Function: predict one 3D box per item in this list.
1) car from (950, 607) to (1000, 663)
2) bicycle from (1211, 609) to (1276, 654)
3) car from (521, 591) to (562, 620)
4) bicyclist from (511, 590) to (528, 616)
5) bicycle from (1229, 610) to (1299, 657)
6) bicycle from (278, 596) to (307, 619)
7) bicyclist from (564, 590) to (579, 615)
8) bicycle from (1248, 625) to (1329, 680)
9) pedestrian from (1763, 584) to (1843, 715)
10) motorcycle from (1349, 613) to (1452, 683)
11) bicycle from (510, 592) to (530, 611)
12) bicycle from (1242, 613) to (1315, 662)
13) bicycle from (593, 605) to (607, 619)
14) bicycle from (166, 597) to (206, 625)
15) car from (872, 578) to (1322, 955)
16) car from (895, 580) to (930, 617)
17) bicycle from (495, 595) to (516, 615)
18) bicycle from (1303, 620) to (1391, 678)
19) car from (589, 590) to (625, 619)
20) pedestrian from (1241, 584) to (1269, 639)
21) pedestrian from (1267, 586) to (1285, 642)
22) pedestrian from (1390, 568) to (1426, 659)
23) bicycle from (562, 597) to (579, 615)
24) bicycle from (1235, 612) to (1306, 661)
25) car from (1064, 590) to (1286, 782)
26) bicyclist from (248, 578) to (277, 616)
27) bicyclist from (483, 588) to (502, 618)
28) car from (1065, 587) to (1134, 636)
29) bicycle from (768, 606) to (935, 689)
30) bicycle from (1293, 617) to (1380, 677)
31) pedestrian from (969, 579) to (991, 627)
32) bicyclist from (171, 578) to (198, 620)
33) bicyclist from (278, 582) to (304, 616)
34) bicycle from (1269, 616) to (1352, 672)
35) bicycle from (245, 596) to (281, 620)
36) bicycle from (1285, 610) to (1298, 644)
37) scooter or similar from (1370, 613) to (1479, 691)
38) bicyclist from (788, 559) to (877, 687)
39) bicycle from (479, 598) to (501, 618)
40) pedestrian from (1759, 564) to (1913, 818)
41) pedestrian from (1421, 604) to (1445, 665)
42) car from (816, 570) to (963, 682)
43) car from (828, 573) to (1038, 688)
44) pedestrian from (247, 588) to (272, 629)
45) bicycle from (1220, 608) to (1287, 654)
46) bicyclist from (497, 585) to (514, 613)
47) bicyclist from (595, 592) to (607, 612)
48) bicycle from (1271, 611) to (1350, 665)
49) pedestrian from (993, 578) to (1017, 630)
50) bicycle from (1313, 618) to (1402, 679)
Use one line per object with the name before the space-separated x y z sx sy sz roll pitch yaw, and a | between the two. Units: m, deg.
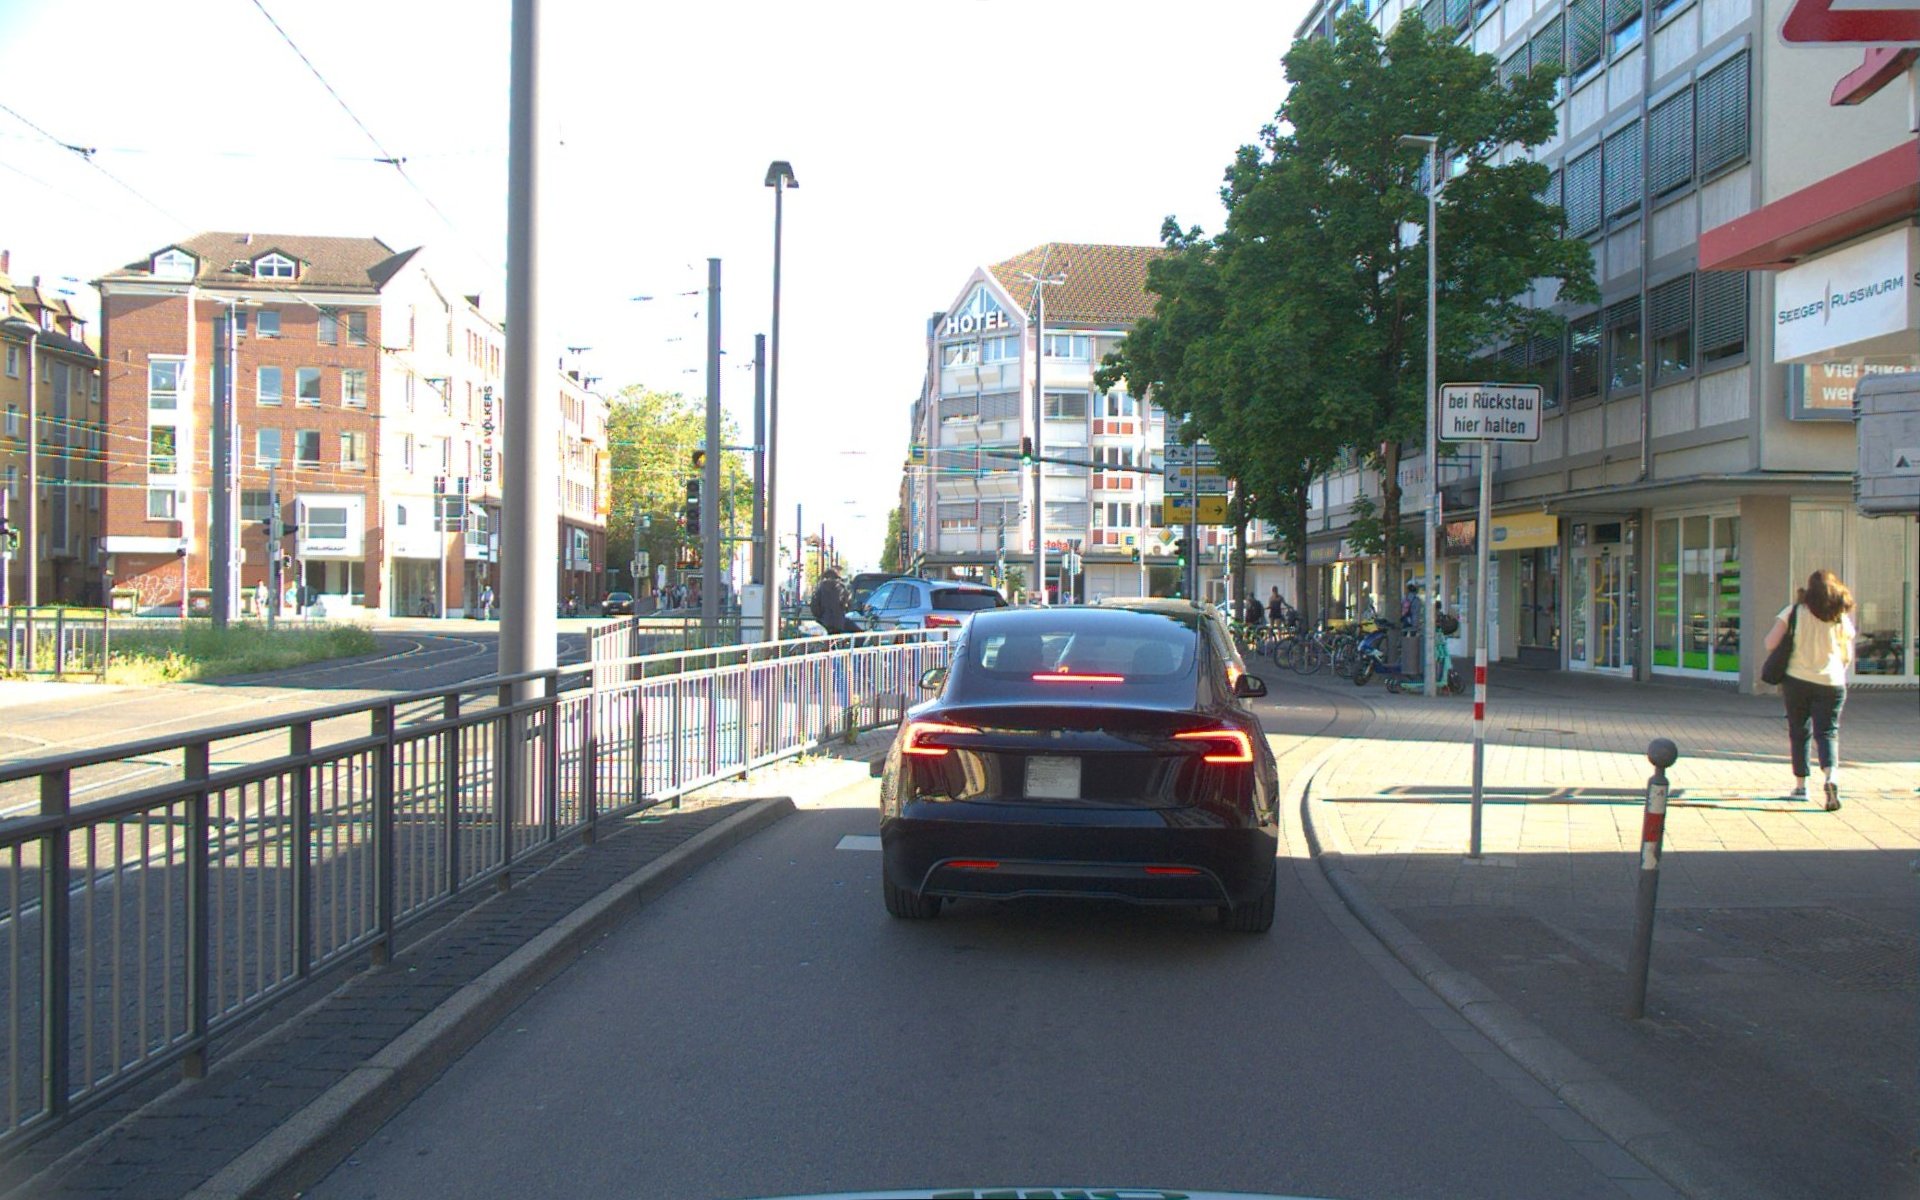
car | 0.463 1.137 55.480 1.566 1.809 3.980 1 0 -1
bicycle | 7.292 0.802 42.559 1.616 1.118 0.350 1 -1 1
car | -23.923 0.312 94.628 1.677 1.553 4.031 1 0 -5
bicyclist | -26.304 0.172 98.721 0.767 1.590 0.746 0 0 1
bicycle | 7.427 0.820 40.421 1.616 1.118 0.350 1 -1 1
bicycle | -29.689 0.332 73.567 0.396 0.998 1.695 1 0 7
bicyclist | -24.490 0.177 104.302 0.769 1.554 0.589 1 -1 3
bicycle | 6.819 1.096 34.339 1.620 1.118 0.349 1 -1 -11
pedestrian | 11.258 0.653 22.111 0.872 1.696 0.808 1 -1 23
motorcycle | 7.807 0.841 29.350 1.673 1.194 0.541 1 -1 -3
bicycle | -26.374 0.102 99.252 0.518 1.107 2.284 1 0 1
bicycle | 7.382 0.866 38.380 1.616 1.118 0.350 1 -1 1
bicycle | -29.060 0.941 133.549 0.518 1.107 2.225 1 0 1
bicycle | -28.297 0.387 60.493 0.437 0.988 2.246 1 0 -1
car | 0.689 0.677 8.678 1.791 1.481 4.002 1 0 4
car | -2.388 -0.056 83.897 1.685 1.781 3.753 1 0 -1
bicycle | -26.206 0.308 95.403 0.518 1.107 2.284 2 0 1
bicycle | 7.381 0.933 31.527 1.620 1.079 0.349 1 -1 -11
car | -22.534 0.278 105.700 1.663 1.762 3.704 1 0 -3
pedestrian | 9.127 0.364 51.230 0.685 1.691 0.777 1 -1 -1
pedestrian | 9.829 0.435 51.380 0.515 1.740 0.404 1 -1 13
pedestrian | 10.187 0.305 37.608 0.648 2.049 0.579 1 -1 1
bicycle | -24.554 0.386 104.245 0.449 1.112 2.202 1 0 3
bicycle | 7.398 0.867 39.407 1.616 1.118 0.350 1 -1 1
car | 1.885 0.664 15.033 1.714 1.480 4.003 1 0 6
bicyclist | -28.401 -0.120 67.341 0.880 1.529 0.696 1 -1 -1
bicyclist | -25.812 0.167 91.333 0.767 1.590 0.746 1 -1 1
car | 4.924 0.408 58.010 1.782 1.643 3.829 1 0 14
bicycle | -1.441 0.638 22.401 2.313 1.072 0.622 1 -1 -39
bicycle | 7.277 0.910 31.950 1.620 1.118 0.349 1 -1 -11
pedestrian | 0.849 0.129 70.755 0.902 2.049 0.972 1 -1 -1
bicyclist | -28.287 -0.032 60.336 0.620 1.529 0.696 1 -1 -1
bicyclist | -29.759 -0.029 73.575 0.689 1.496 0.973 1 0 7
bicycle | 7.094 0.888 33.475 1.620 1.118 0.349 1 -1 -11
bicycle | -28.367 0.325 67.372 0.513 0.988 2.246 1 0 -1
bicycle | 10.236 0.828 51.019 0.325 1.052 1.257 1 0 9
scooter or similar | 7.660 0.840 27.273 1.610 1.236 0.644 1 -1 30
bicyclist | -1.713 0.302 22.166 0.753 1.657 0.964 1 -1 -39
bicycle | -25.855 0.435 90.950 0.526 1.107 2.224 1 0 0
pedestrian | 6.452 0.634 12.236 0.895 1.783 1.038 0 0 22
pedestrian | 10.731 0.779 37.543 0.381 1.367 0.513 1 -1 1
car | -1.456 0.488 32.470 1.962 2.049 3.981 0 0 -17
car | -0.521 0.457 26.517 1.859 1.691 4.125 1 0 -25
pedestrian | -32.426 0.384 76.579 0.767 1.852 0.746 1 -1 1
bicycle | 7.362 0.777 41.466 1.616 1.118 0.350 0 0 1
bicyclist | -26.223 -0.070 95.457 0.767 1.590 0.746 0 0 1
bicyclist | -29.034 0.152 133.675 0.767 1.590 0.746 1 -1 1
bicycle | 7.499 0.811 35.430 1.616 1.118 0.350 1 -1 1
pedestrian | 1.794 0.159 66.284 0.902 2.049 0.972 1 -1 -1
bicycle | 7.477 0.919 31.107 1.620 1.118 0.349 1 -1 -11
